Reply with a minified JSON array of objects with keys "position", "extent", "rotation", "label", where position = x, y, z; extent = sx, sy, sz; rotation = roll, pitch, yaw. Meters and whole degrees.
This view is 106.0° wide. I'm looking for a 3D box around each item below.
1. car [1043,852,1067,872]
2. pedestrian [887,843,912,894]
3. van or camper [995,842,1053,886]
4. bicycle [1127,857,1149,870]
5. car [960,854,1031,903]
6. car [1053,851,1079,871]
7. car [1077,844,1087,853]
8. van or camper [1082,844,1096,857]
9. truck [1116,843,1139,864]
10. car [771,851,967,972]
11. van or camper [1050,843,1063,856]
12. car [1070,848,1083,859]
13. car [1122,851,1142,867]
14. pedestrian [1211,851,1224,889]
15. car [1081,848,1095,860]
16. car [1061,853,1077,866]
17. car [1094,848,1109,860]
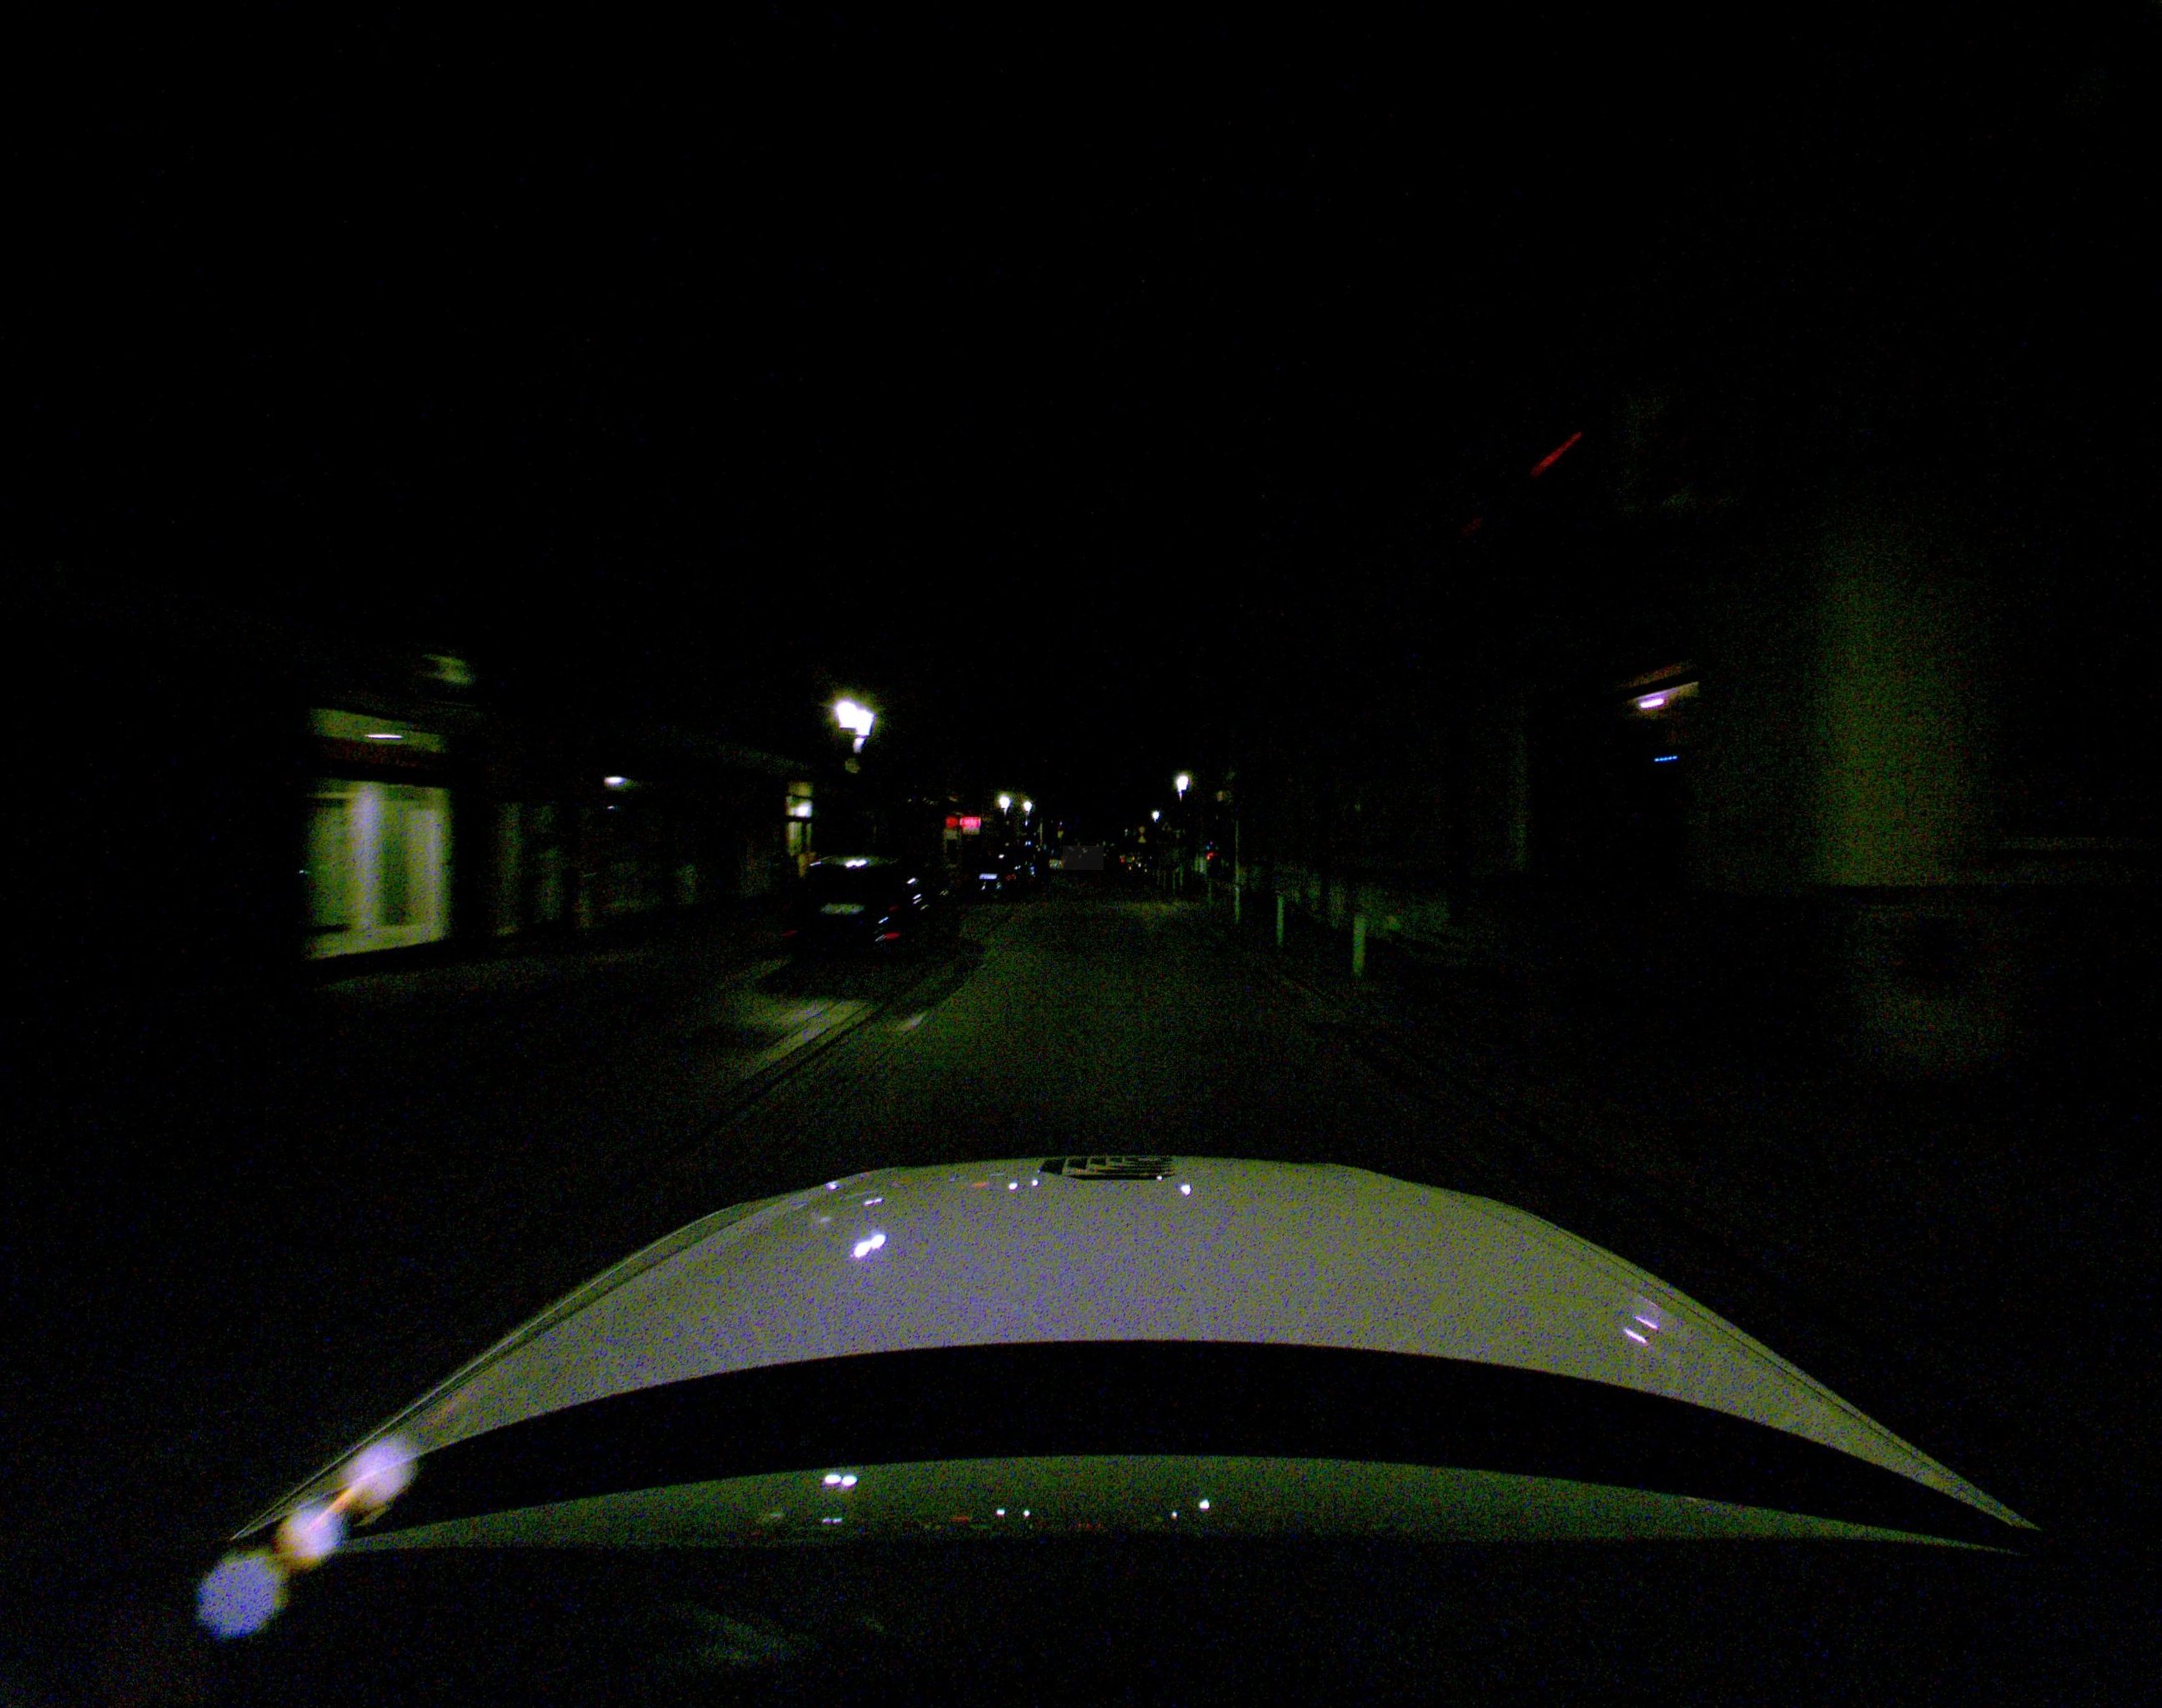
[{"position":[-2.067,0.614,65.077],"extent":[1.723,1.476,3.846],"rotation":[1,0,0],"label":"car"},{"position":[-6.271,0.497,28.211],"extent":[0.619,1.745,1.023],"rotation":[0,0,1],"label":"pedestrian"},{"position":[-2.613,0.445,38.820],"extent":[1.836,1.942,5.163],"rotation":[1,0,6],"label":"van or camper"},{"position":[4.696,0.784,67.024],"extent":[1.750,1.062,0.346],"rotation":[-1,0,-2],"label":"bicycle"},{"position":[-2.703,0.729,26.765],"extent":[1.710,1.413,4.387],"rotation":[1,0,2],"label":"car"},{"position":[-1.249,0.576,70.393],"extent":[2.013,1.488,5.007],"rotation":[3,0,0],"label":"car"},{"position":[0.182,-1.087,174.725],"extent":[1.836,1.901,3.840],"rotation":[-1,0,-4],"label":"car"},{"position":[1.508,-0.623,155.658],"extent":[2.106,2.317,4.253],"rotation":[-2,1,-6],"label":"van or camper"},{"position":[5.363,-0.032,94.202],"extent":[2.328,2.312,5.781],"rotation":[-1,0,0],"label":"truck"},{"position":[-2.996,0.732,12.488],"extent":[1.791,1.478,4.321],"rotation":[2,0,0],"label":"car"},{"position":[-4.135,-0.747,136.412],"extent":[1.864,2.011,4.253],"rotation":[1,0,-6],"label":"van or camper"},{"position":[-0.788,-0.108,134.267],"extent":[1.990,1.702,3.994],"rotation":[0,0,-4],"label":"car"},{"position":[4.916,0.480,78.633],"extent":[1.782,1.491,4.061],"rotation":[-2,0,2],"label":"car"},{"position":[5.625,0.653,33.529],"extent":[0.498,1.547,0.481],"rotation":[1,0,7],"label":"pedestrian"},{"position":[1.061,0.005,119.323],"extent":[1.987,1.823,3.999],"rotation":[0,0,-1],"label":"car"},{"position":[-1.499,0.648,98.828],"extent":[1.671,1.543,4.223],"rotation":[1,0,-5],"label":"car"},{"position":[3.281,-0.021,129.609],"extent":[1.812,1.828,4.339],"rotation":[-1,0,-5],"label":"car"}]
